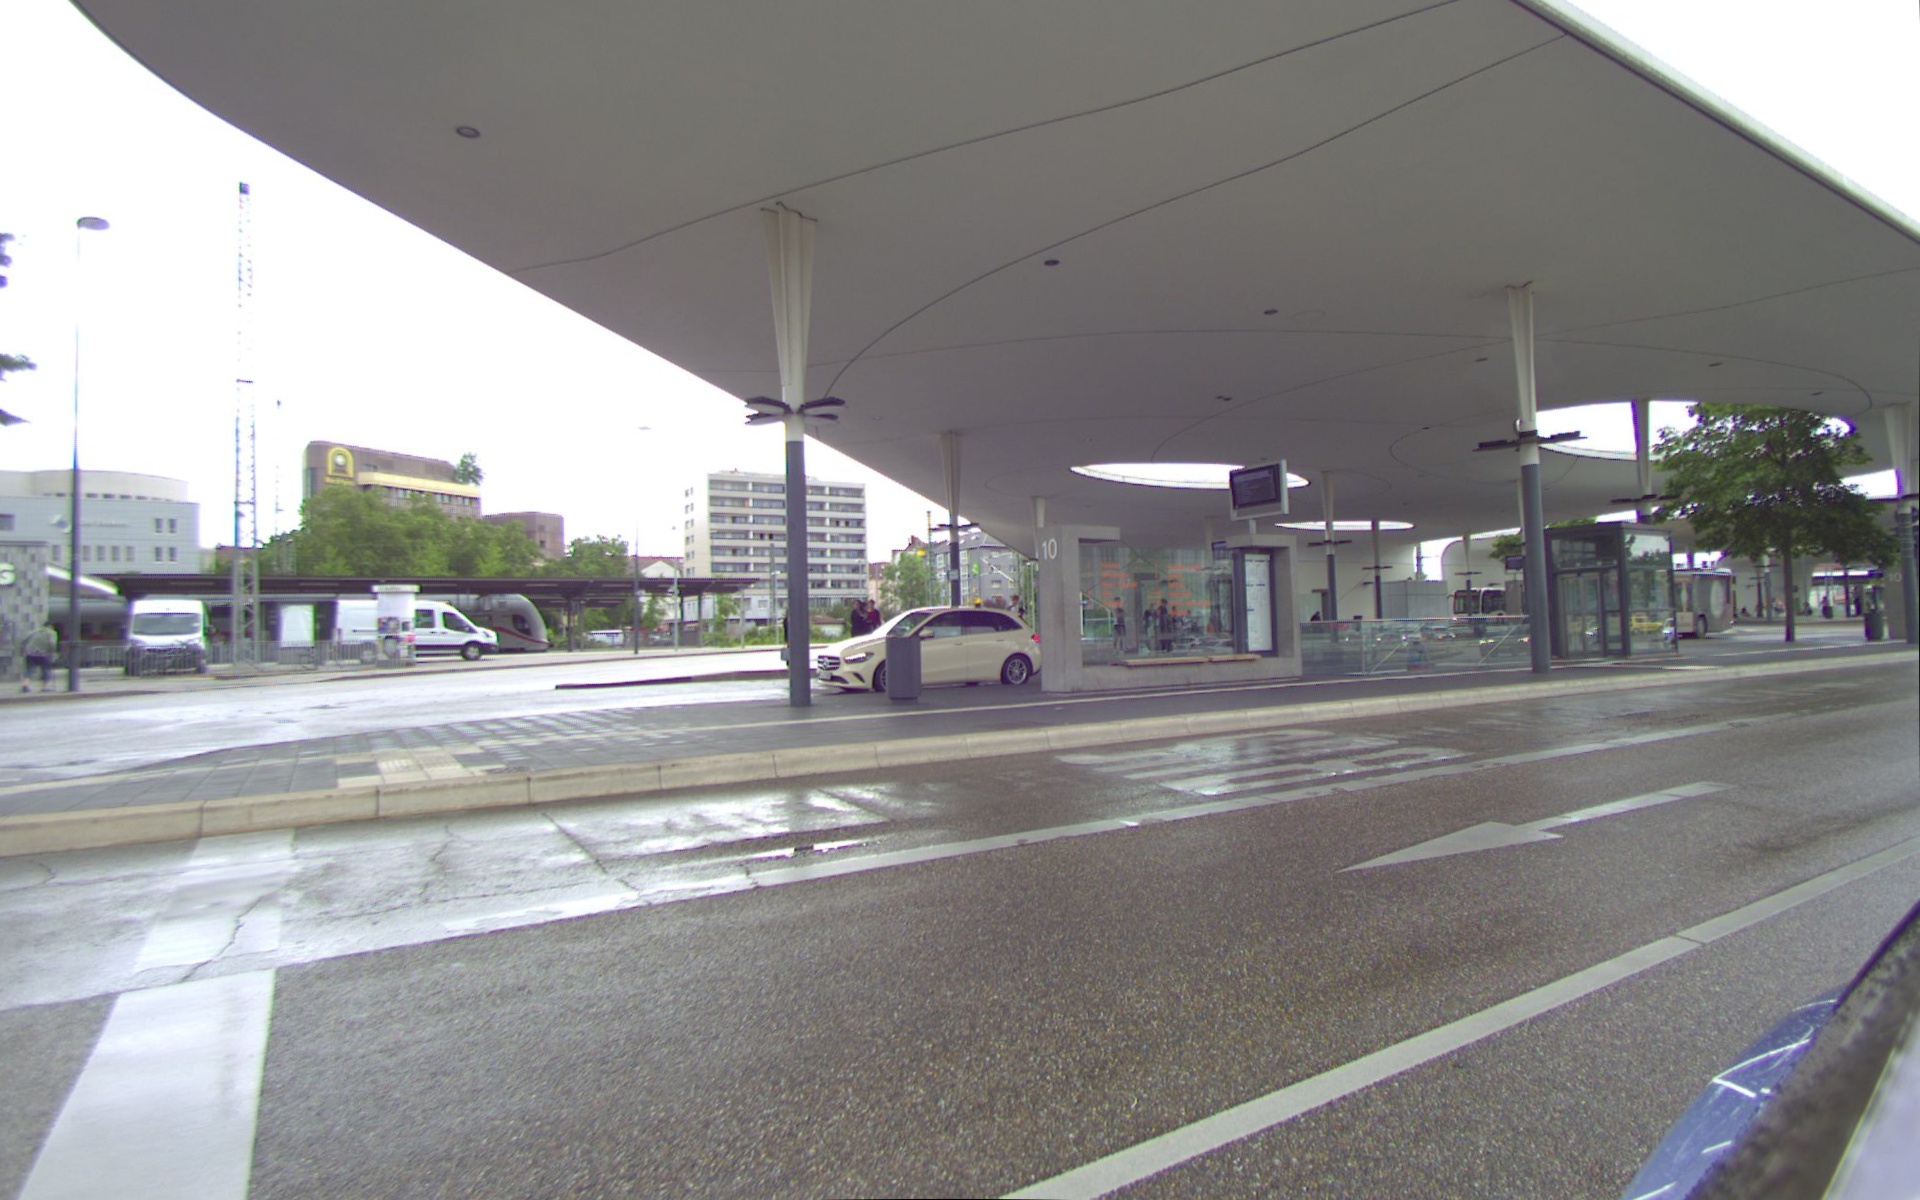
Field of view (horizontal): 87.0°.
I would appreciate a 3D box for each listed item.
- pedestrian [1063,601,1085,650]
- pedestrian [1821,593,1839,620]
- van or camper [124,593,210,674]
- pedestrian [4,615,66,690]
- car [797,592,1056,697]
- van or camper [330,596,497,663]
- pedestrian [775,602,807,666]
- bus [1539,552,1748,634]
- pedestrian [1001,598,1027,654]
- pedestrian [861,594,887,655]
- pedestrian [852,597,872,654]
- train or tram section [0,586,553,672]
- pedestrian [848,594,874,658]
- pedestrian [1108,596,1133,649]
[{"bbox_3d":[3.627,0.810,32.181,0.514,1.533,0.479,0,-1,-28],"label":"pedestrian"},{"bbox_3d":[67.551,0.516,78.611,1.020,2.039,0.868,0,0,39],"label":"pedestrian"},{"bbox_3d":[-26.901,1.029,34.408,2.126,2.464,5.859,-1,1,-38],"label":"van or camper"},{"bbox_3d":[-20.026,1.117,21.913,0.632,1.549,0.832,-1,0,28],"label":"pedestrian"},{"bbox_3d":[-0.593,0.737,18.998,4.453,1.702,2.001,-1,1,-32],"label":"car"},{"bbox_3d":[-21.791,1.095,40.477,5.749,2.464,2.001,-1,0,-32],"label":"van or camper"},{"bbox_3d":[-4.384,0.863,26.248,0.725,1.615,0.643,-1,0,-17],"label":"pedestrian"},{"bbox_3d":[29.296,-0.242,43.096,11.686,3.121,2.880,0,0,-32],"label":"bus"},{"bbox_3d":[1.497,0.711,27.847,0.524,1.533,0.479,0,-1,-28],"label":"pedestrian"},{"bbox_3d":[-2.191,0.619,25.673,0.469,1.533,0.536,0,-1,-27],"label":"pedestrian"},{"bbox_3d":[-2.674,0.699,27.606,0.470,1.533,0.535,-1,-1,3],"label":"pedestrian"},{"bbox_3d":[-40.080,1.401,60.649,28.734,4.234,4.608,-1,1,-32],"label":"train or tram section"},{"bbox_3d":[-2.441,0.629,24.900,0.469,1.533,0.536,0,-1,-27],"label":"pedestrian"},{"bbox_3d":[4.749,0.654,29.941,0.524,1.533,0.479,0,-1,-28],"label":"pedestrian"}]
